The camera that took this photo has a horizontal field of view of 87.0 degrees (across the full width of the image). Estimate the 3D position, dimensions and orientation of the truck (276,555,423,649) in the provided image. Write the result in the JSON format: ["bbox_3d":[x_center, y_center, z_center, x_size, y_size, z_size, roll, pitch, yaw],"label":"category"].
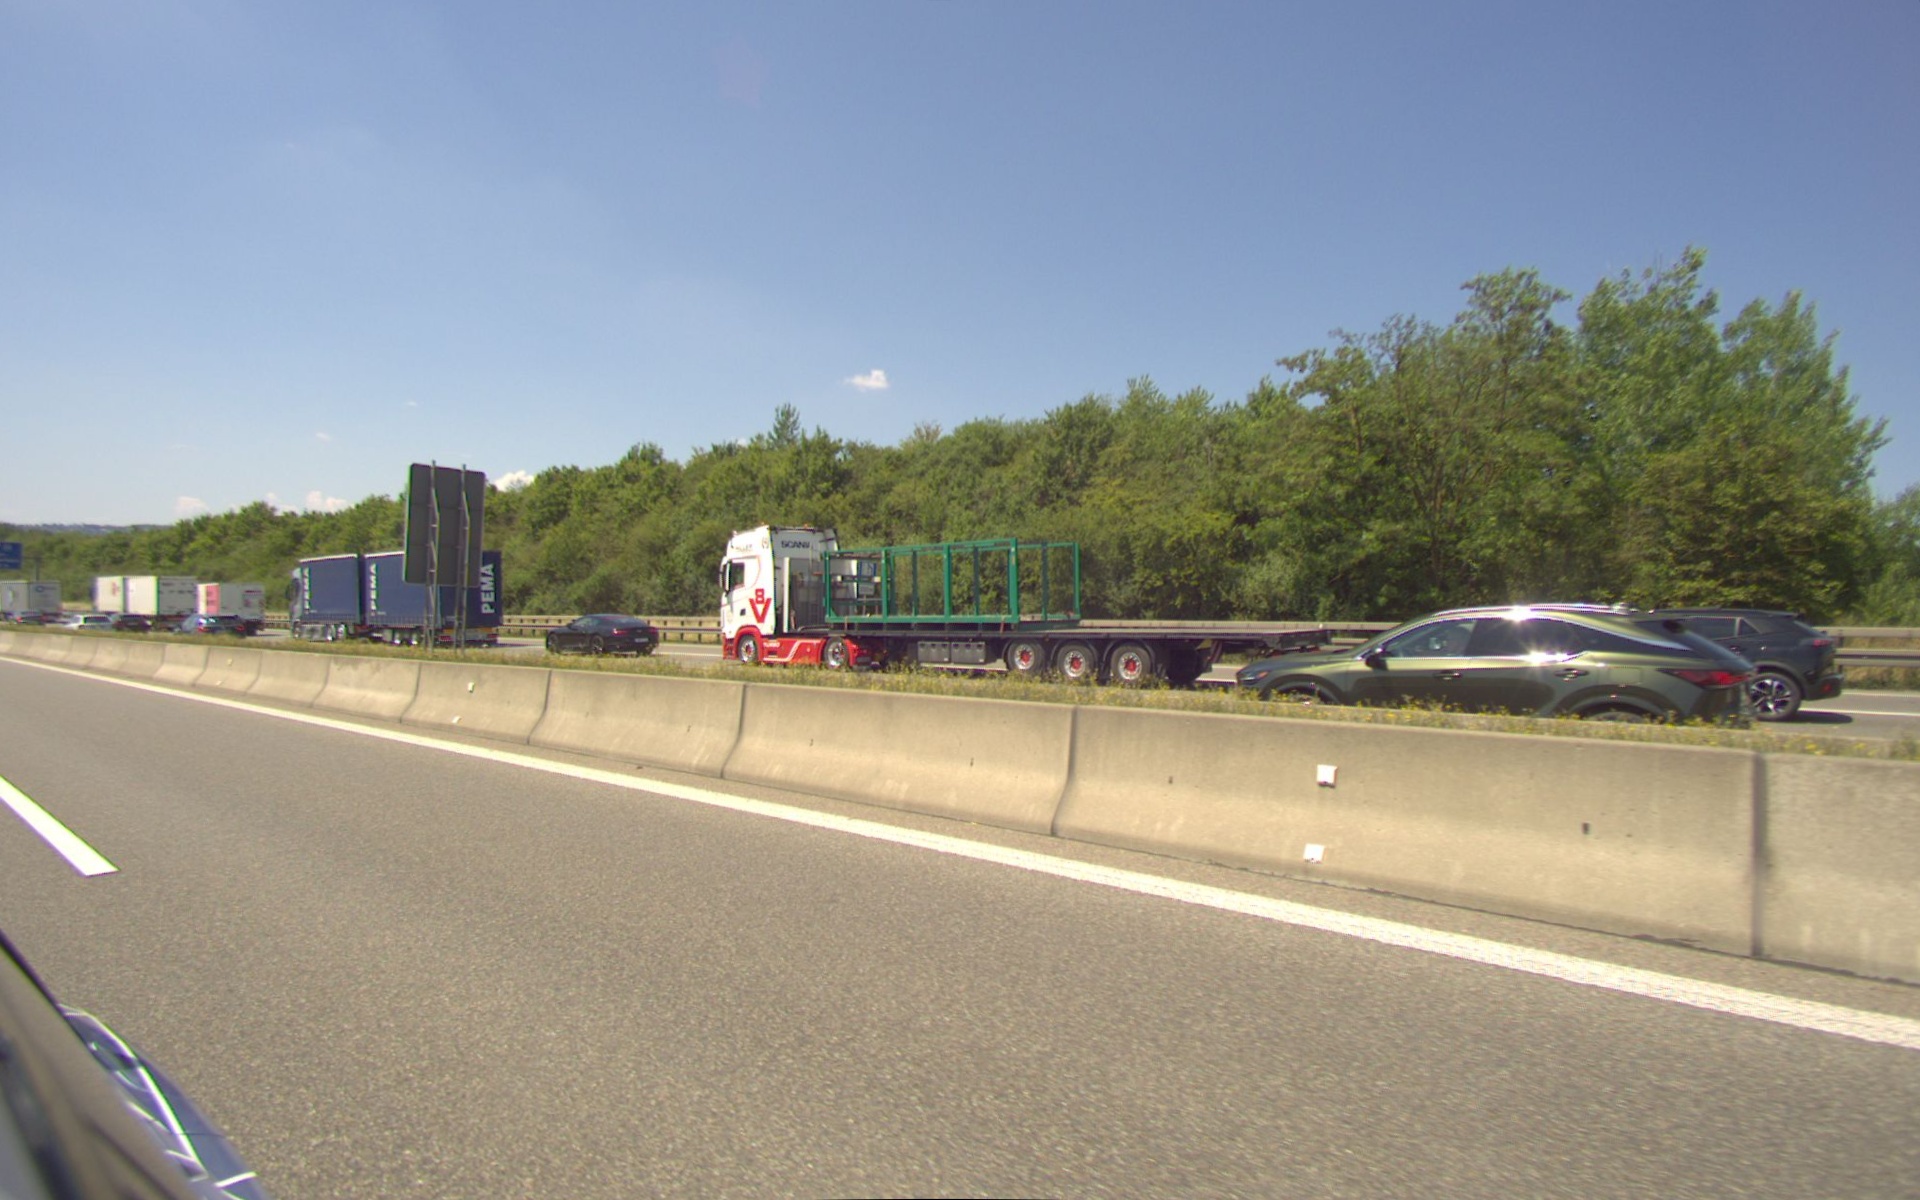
[{"bbox_3d":[-30.416,0.159,50.173,10.725,4.266,2.971,-1,-1,40],"label":"truck"}]

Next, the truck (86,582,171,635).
[{"bbox_3d":[-65.046,0.712,79.046,11.234,3.928,2.815,-1,-2,39],"label":"truck"}]

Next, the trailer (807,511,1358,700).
[{"bbox_3d":[1.898,0.173,22.587,12.774,3.230,2.829,-1,-1,41],"label":"trailer"}]

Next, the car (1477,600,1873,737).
[{"bbox_3d":[10.493,0.878,15.157,4.601,1.643,1.819,2,1,40],"label":"car"}]

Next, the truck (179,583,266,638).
[{"bbox_3d":[-45.820,0.646,62.771,7.580,3.232,2.514,-1,-1,39],"label":"truck"}]

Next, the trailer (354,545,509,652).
[{"bbox_3d":[-23.023,0.011,43.851,8.589,4.224,2.955,-1,-1,41],"label":"trailer"}]

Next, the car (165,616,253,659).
[{"bbox_3d":[-29.945,1.453,40.329,4.550,1.595,1.819,-1,-1,40],"label":"car"}]

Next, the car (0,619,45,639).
[{"bbox_3d":[-77.095,2.343,83.155,5.487,1.557,1.974,0,-1,38],"label":"car"}]

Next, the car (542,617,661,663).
[{"bbox_3d":[-12.105,1.293,34.011,4.644,1.442,1.640,-1,-1,40],"label":"car"}]

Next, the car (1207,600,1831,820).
[{"bbox_3d":[5.411,0.897,10.378,5.251,1.708,2.028,-1,-1,40],"label":"car"}]

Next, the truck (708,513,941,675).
[{"bbox_3d":[-3.777,-0.108,27.488,6.173,3.906,2.871,-1,-1,40],"label":"truck"}]

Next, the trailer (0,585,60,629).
[{"bbox_3d":[-92.678,0.668,100.226,14.426,4.117,2.874,0,-1,38],"label":"trailer"}]

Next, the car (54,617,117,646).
[{"bbox_3d":[-47.025,1.670,54.401,4.871,1.294,1.819,2,1,40],"label":"car"}]

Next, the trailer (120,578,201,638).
[{"bbox_3d":[-57.894,0.595,73.221,8.222,4.103,2.891,-1,-2,40],"label":"trailer"}]

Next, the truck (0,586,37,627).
[{"bbox_3d":[-97.625,0.688,104.086,6.594,4.067,2.826,0,-1,38],"label":"truck"}]

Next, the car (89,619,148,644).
[{"bbox_3d":[-53.737,1.994,64.614,5.165,1.466,1.974,-1,-1,39],"label":"car"}]
